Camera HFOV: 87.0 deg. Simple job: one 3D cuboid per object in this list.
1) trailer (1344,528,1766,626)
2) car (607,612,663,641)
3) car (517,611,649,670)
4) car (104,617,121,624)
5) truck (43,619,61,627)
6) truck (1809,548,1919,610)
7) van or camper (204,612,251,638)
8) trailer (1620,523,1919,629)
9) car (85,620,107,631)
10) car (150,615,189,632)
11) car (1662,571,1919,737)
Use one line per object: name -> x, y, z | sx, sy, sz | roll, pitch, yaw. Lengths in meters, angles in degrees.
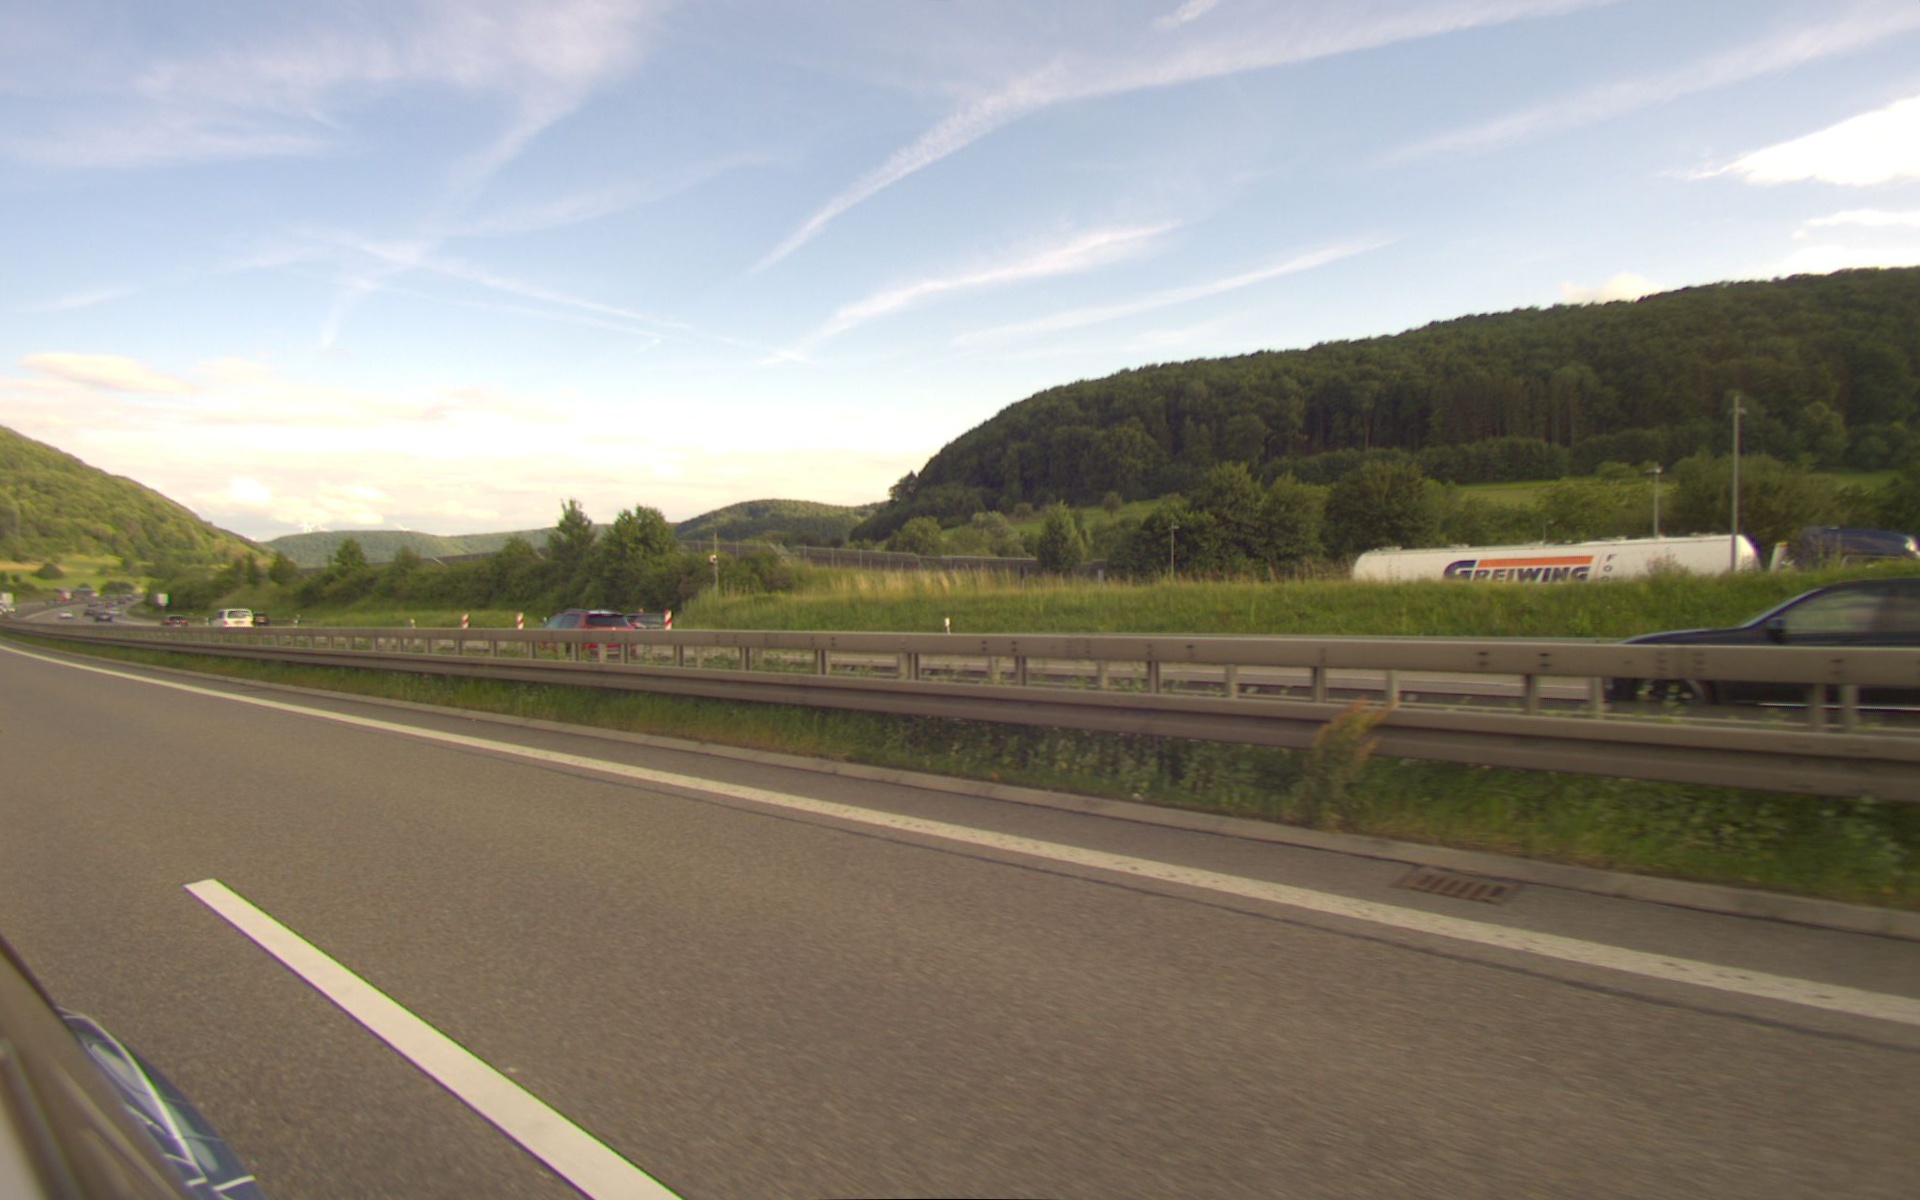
trailer -> 19.782, -0.729, 34.730 | 12.255, 2.875, 2.553 | 1, 1, 40
car -> -18.010, 1.453, 56.283 | 1.970, 1.563, 4.623 | 0, -1, -4
car -> -10.658, 1.125, 28.474 | 4.216, 1.542, 1.821 | -2, -3, 44
car -> -169.397, 4.134, 202.252 | 4.378, 1.368, 1.742 | -1, -1, 39
truck -> -158.677, 3.936, 176.805 | 4.646, 1.375, 1.972 | -1, -1, 43
truck -> 61.373, -1.349, 65.516 | 11.206, 3.885, 2.591 | 0, 1, -5
van or camper -> -54.321, 1.847, 75.045 | 4.754, 1.888, 1.895 | -1, -1, 43
trailer -> 24.454, -0.685, 30.597 | 7.300, 2.875, 2.585 | 1, 1, 40
car -> -128.171, 3.772, 150.124 | 4.496, 1.508, 1.776 | -1, -1, 40
car -> -74.822, 2.248, 95.769 | 4.688, 1.508, 1.973 | -1, -1, 40
car -> 10.059, 0.520, 10.547 | 4.340, 1.626, 1.788 | 1, 1, 42
